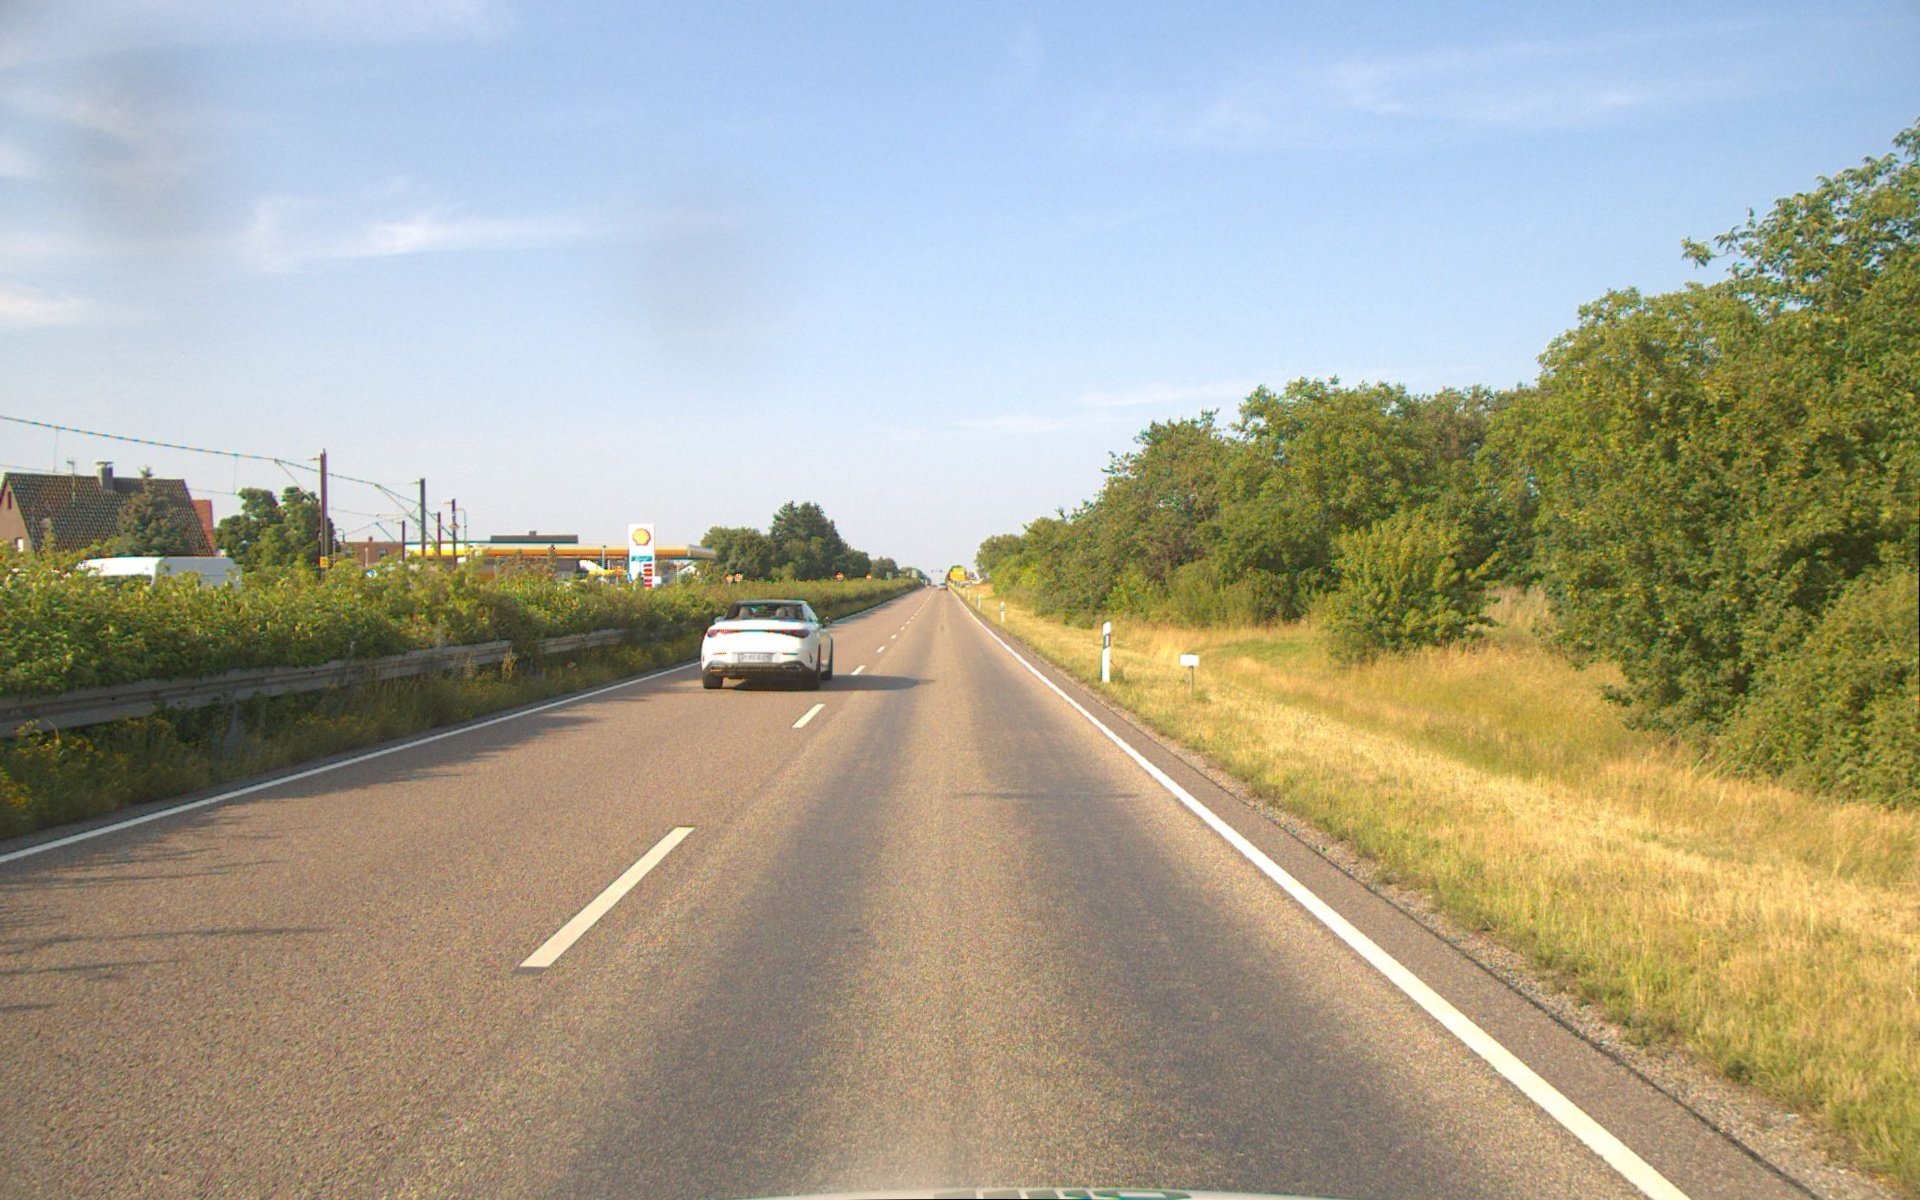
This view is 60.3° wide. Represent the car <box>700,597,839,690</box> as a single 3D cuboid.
[{"bbox_3d":[-3.032,0.649,27.250,1.735,1.361,4.949,1,0,0],"label":"car"}]

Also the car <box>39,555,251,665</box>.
[{"bbox_3d":[-16.444,0.183,33.691,1.953,2.049,4.871,1,0,-1],"label":"car"}]
